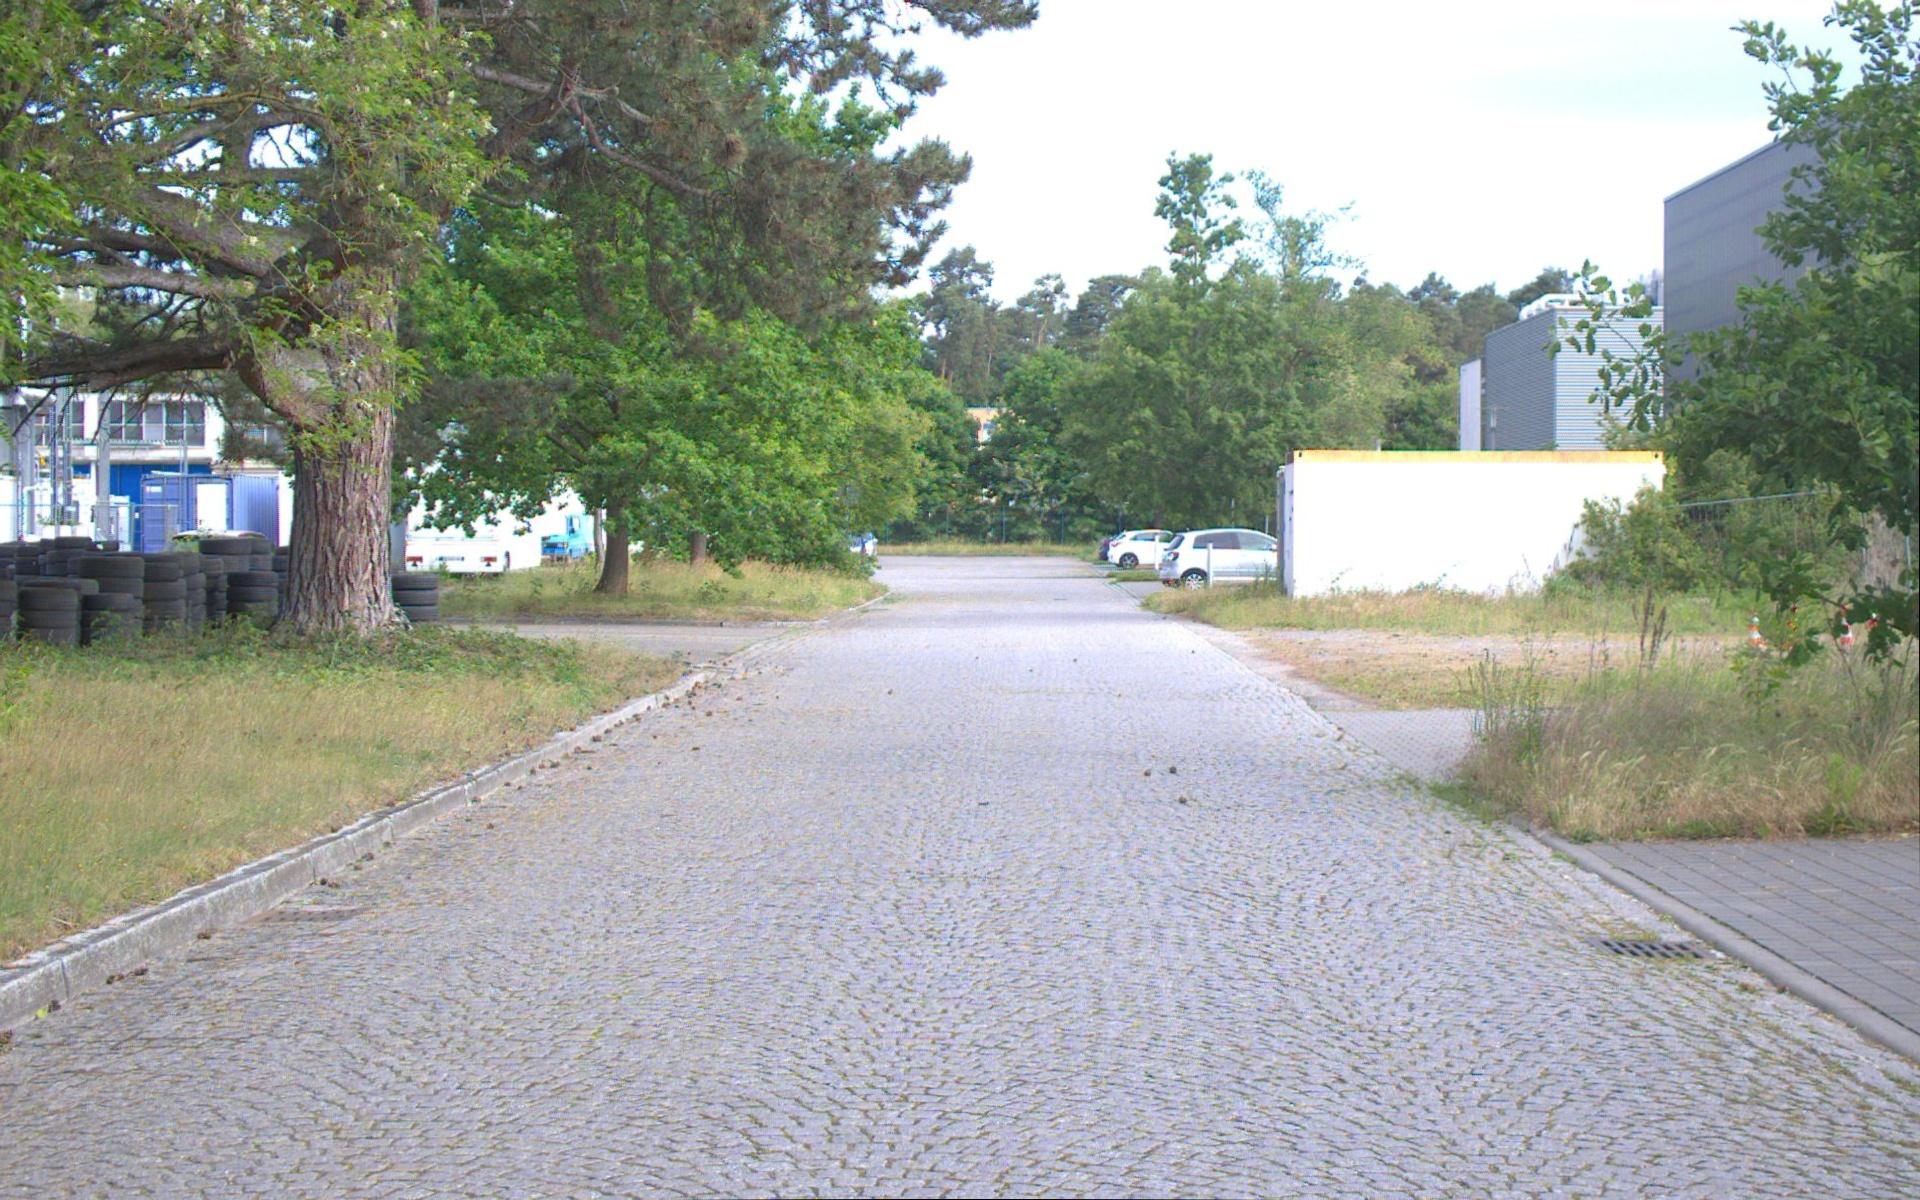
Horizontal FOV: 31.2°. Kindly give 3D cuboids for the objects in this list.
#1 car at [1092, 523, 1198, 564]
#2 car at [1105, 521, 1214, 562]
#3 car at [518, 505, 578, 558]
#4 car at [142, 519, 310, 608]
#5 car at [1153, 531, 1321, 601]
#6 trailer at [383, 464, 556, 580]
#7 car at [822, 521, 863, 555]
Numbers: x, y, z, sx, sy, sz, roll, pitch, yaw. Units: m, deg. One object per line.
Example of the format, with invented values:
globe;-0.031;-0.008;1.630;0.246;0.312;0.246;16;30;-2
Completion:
car;7.193;-2.202;134.158;3.986;1.596;1.729;0;1;-2
car;7.445;-2.197;128.595;4.025;1.496;1.548;0;1;2
car;-16.310;-2.730;136.339;1.925;2.040;4.601;0;1;-1
car;-12.360;-0.636;58.082;1.767;1.448;3.487;0;1;6
car;6.629;-0.817;82.466;3.849;1.649;1.686;0;1;-2
trailer;-13.538;-2.175;95.545;3.159;3.057;8.784;0;1;3
car;-5.054;-2.677;147.916;1.735;1.464;4.046;0;1;-1
